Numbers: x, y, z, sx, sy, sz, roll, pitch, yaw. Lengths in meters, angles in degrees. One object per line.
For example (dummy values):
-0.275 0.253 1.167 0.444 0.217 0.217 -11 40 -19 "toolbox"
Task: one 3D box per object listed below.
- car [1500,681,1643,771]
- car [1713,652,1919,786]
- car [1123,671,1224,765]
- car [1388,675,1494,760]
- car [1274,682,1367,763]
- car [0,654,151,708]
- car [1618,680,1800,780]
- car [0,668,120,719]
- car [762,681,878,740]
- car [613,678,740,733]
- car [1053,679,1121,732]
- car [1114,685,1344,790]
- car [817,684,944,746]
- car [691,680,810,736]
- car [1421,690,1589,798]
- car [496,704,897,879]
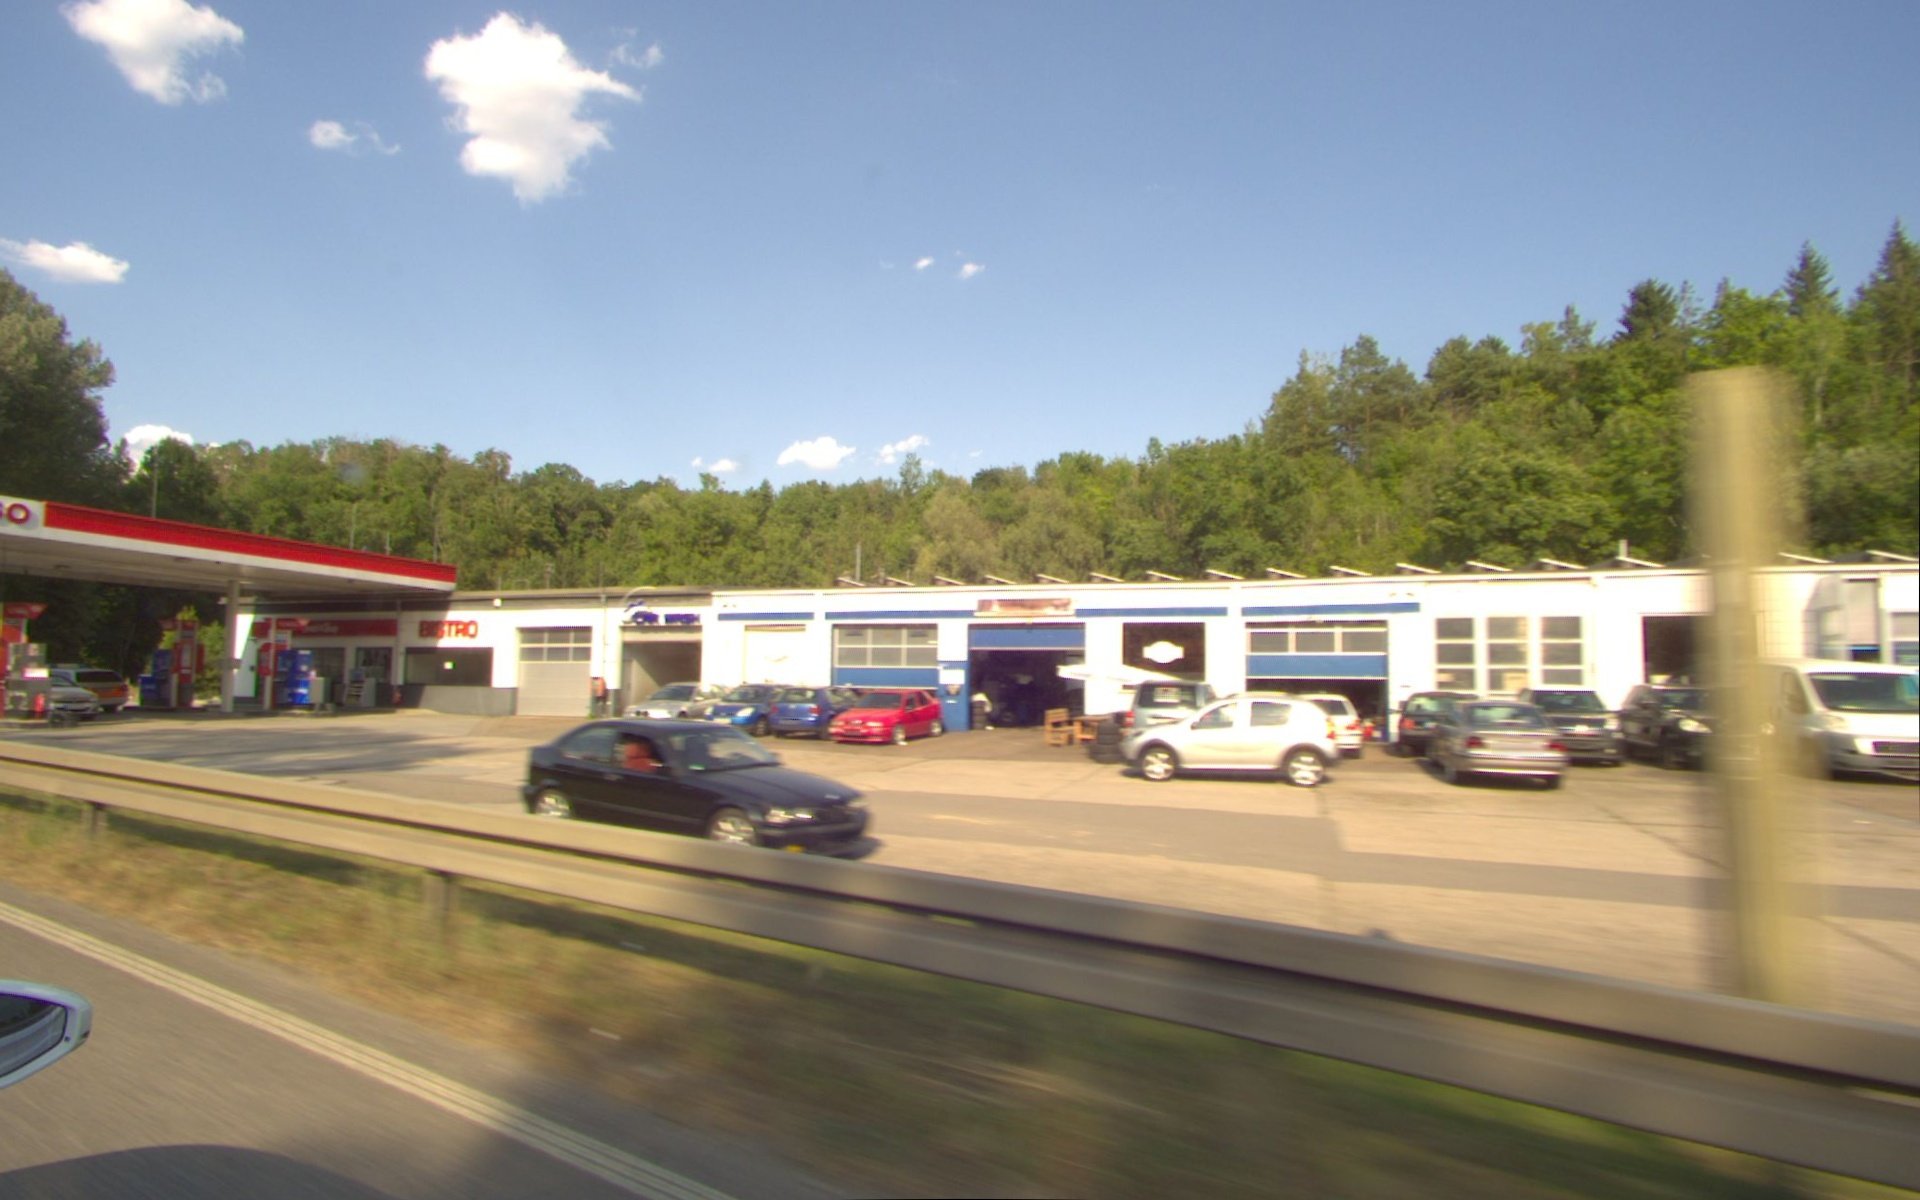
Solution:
13.184 2.649 21.873 1.862 1.630 4.248 0 -3 20 "car"
17.562 2.228 20.204 2.255 2.302 5.484 0 -3 20 "car"
4.993 2.597 22.961 1.858 1.750 4.256 0 -2 18 "car"
11.079 2.640 23.327 1.862 1.631 3.993 0 -2 20 "car"
8.287 2.744 23.171 1.837 1.480 4.153 0 -2 19 "car"
-30.322 2.725 33.944 5.089 1.647 2.097 0 -4 20 "car"
15.312 2.575 20.754 1.891 1.631 4.165 0 -2 20 "car"
-27.186 2.726 29.500 4.314 1.335 1.846 0 -4 21 "car"
-3.823 3.016 27.873 1.704 1.463 3.552 0 -4 20 "car"
-8.236 3.035 29.471 1.744 1.371 3.967 0 -3 16 "car"
4.617 3.725 35.978 1.713 1.580 4.028 0 -2 18 "car"
4.925 2.467 18.516 3.917 1.617 1.794 0 -2 17 "car"
-2.032 3.027 26.981 1.862 1.365 4.074 0 -3 20 "car"
-5.899 3.035 28.588 1.661 1.423 3.558 0 -4 20 "car"
9.936 2.545 18.650 1.922 1.452 4.729 0 -2 18 "car"
-2.946 1.939 11.006 4.209 1.369 1.823 -1 -4 31 "car"
